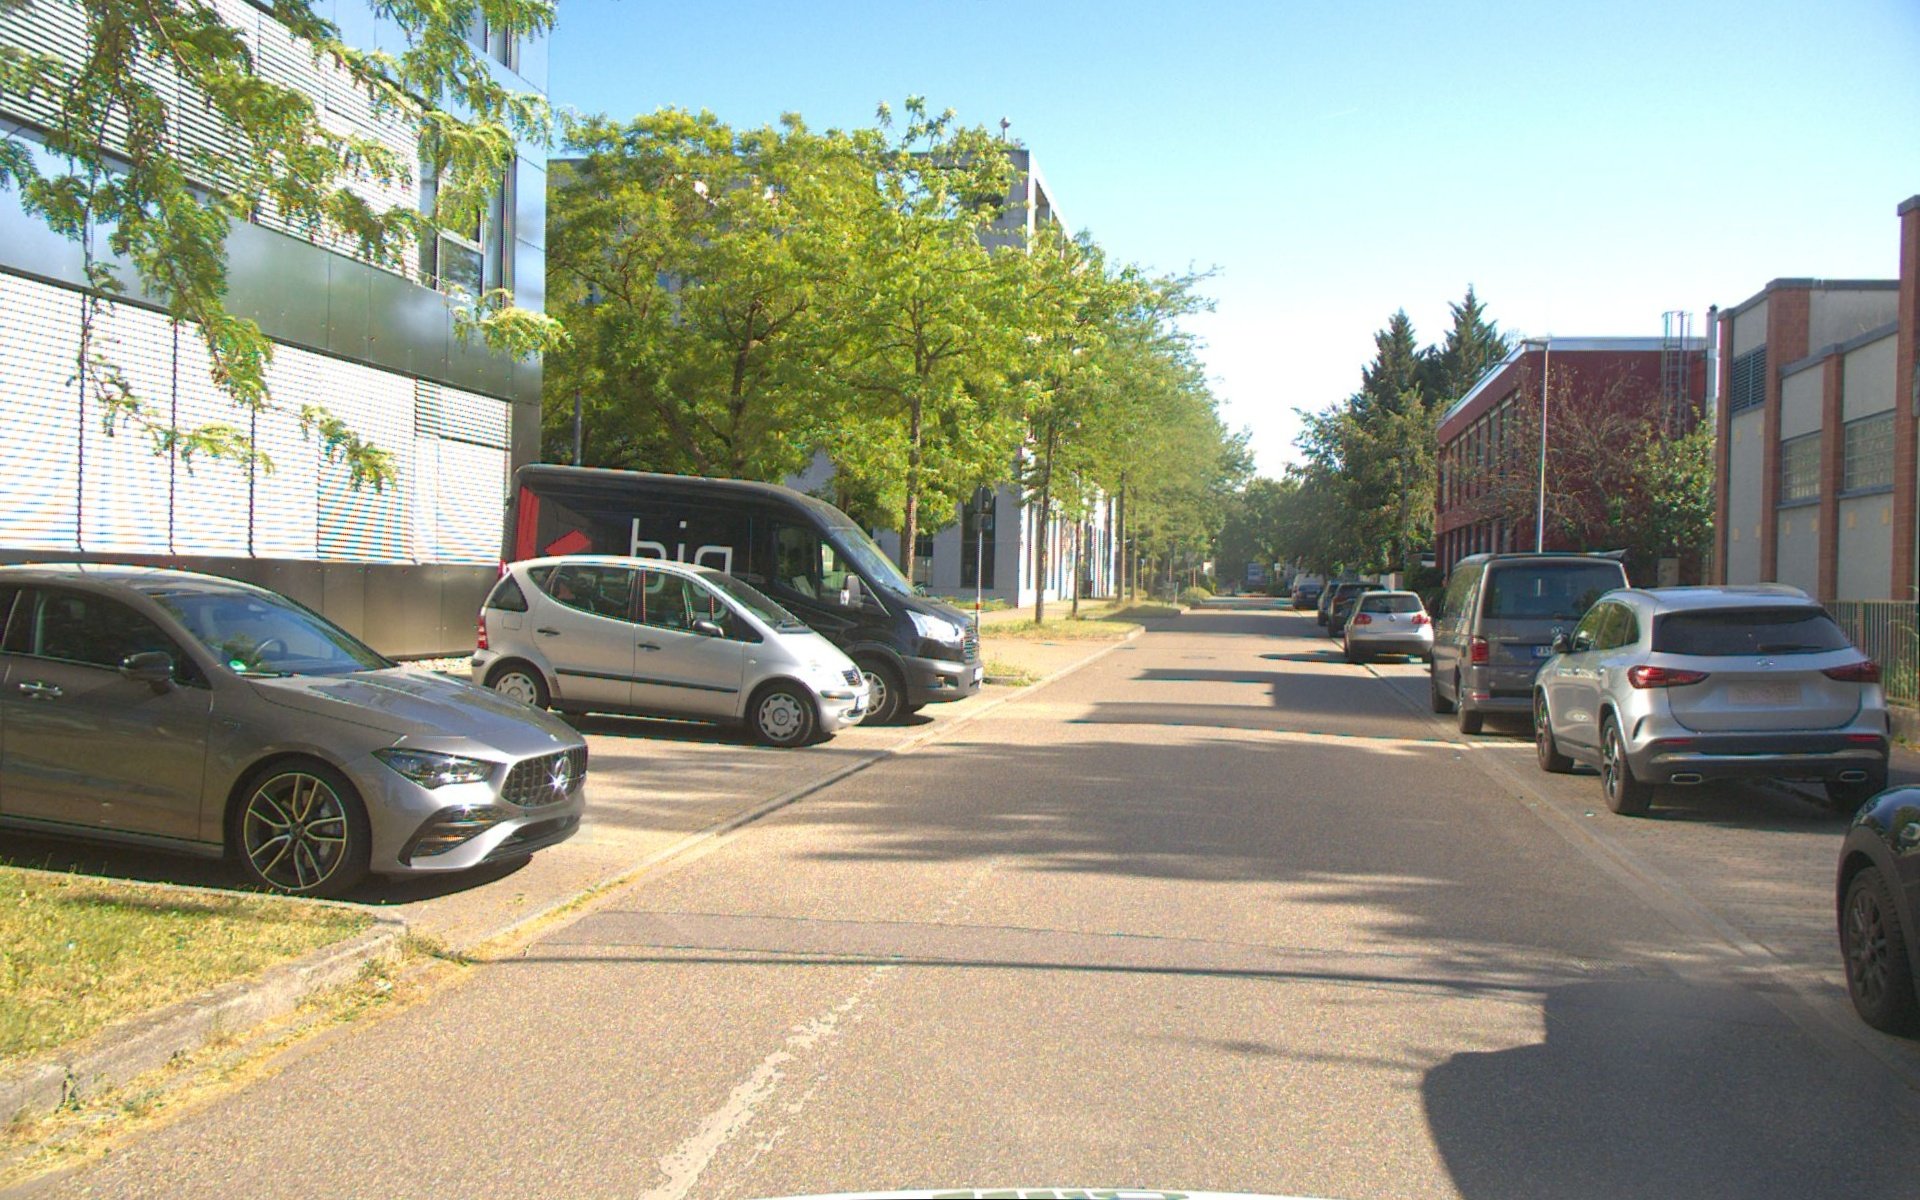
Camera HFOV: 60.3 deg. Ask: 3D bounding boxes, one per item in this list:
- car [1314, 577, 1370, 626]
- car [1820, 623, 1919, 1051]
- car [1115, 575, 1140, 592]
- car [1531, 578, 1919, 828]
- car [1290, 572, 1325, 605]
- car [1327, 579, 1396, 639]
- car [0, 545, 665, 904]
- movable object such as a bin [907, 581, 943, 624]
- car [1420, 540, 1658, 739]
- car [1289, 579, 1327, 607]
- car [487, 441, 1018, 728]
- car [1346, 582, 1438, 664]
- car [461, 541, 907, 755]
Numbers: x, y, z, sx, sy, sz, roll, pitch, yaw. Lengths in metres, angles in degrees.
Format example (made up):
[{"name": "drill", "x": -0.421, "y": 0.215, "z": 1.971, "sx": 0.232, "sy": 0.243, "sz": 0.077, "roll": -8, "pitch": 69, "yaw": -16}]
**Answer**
[{"name": "car", "x": 13.928, "y": 0.032, "z": 60.515, "sx": 1.815, "sy": 1.677, "sz": 4.004, "roll": 1, "pitch": 1, "yaw": 11}, {"name": "car", "x": 4.056, "y": 0.851, "z": 4.858, "sx": 1.616, "sy": 1.498, "sz": 3.767, "roll": 0, "pitch": 0, "yaw": 9}, {"name": "car", "x": 13.892, "y": -1.370, "z": 137.083, "sx": 1.865, "sy": 1.365, "sz": 3.796, "roll": 1, "pitch": 1, "yaw": 7}, {"name": "car", "x": 5.868, "y": 0.679, "z": 13.244, "sx": 1.786, "sy": 1.657, "sz": 4.297, "roll": 0, "pitch": 0, "yaw": 10}, {"name": "car", "x": 20.731, "y": -0.703, "z": 98.826, "sx": 1.951, "sy": 1.866, "sz": 4.004, "roll": -2, "pitch": 1, "yaw": 11}, {"name": "car", "x": 12.074, "y": 0.225, "z": 49.954, "sx": 1.799, "sy": 1.662, "sz": 4.205, "roll": 2, "pitch": 1, "yaw": 11}, {"name": "car", "x": -4.014, "y": 0.497, "z": 8.590, "sx": 4.439, "sy": 1.374, "sz": 1.894, "roll": 4, "pitch": 1, "yaw": 10}, {"name": "movable object such as a bin", "x": -1.002, "y": 0.054, "z": 47.523, "sx": 0.649, "sy": 1.202, "sz": 1.937, "roll": 1, "pitch": 1, "yaw": 10}, {"name": "car", "x": 6.696, "y": 0.399, "z": 19.647, "sx": 1.902, "sy": 2.057, "sz": 4.829, "roll": 0, "pitch": 0, "yaw": 10}, {"name": "car", "x": 19.551, "y": -0.379, "z": 93.035, "sx": 1.951, "sy": 1.467, "sz": 4.004, "roll": 2, "pitch": 0, "yaw": 11}, {"name": "car", "x": -2.223, "y": -0.202, "z": 18.525, "sx": 5.339, "sy": 2.668, "sz": 2.233, "roll": 4, "pitch": 1, "yaw": 10}, {"name": "car", "x": 9.212, "y": 0.443, "z": 35.519, "sx": 1.624, "sy": 1.588, "sz": 3.938, "roll": 2, "pitch": 1, "yaw": 11}, {"name": "car", "x": -2.571, "y": 0.414, "z": 15.939, "sx": 3.750, "sy": 1.673, "sz": 1.894, "roll": 4, "pitch": 1, "yaw": 8}]
